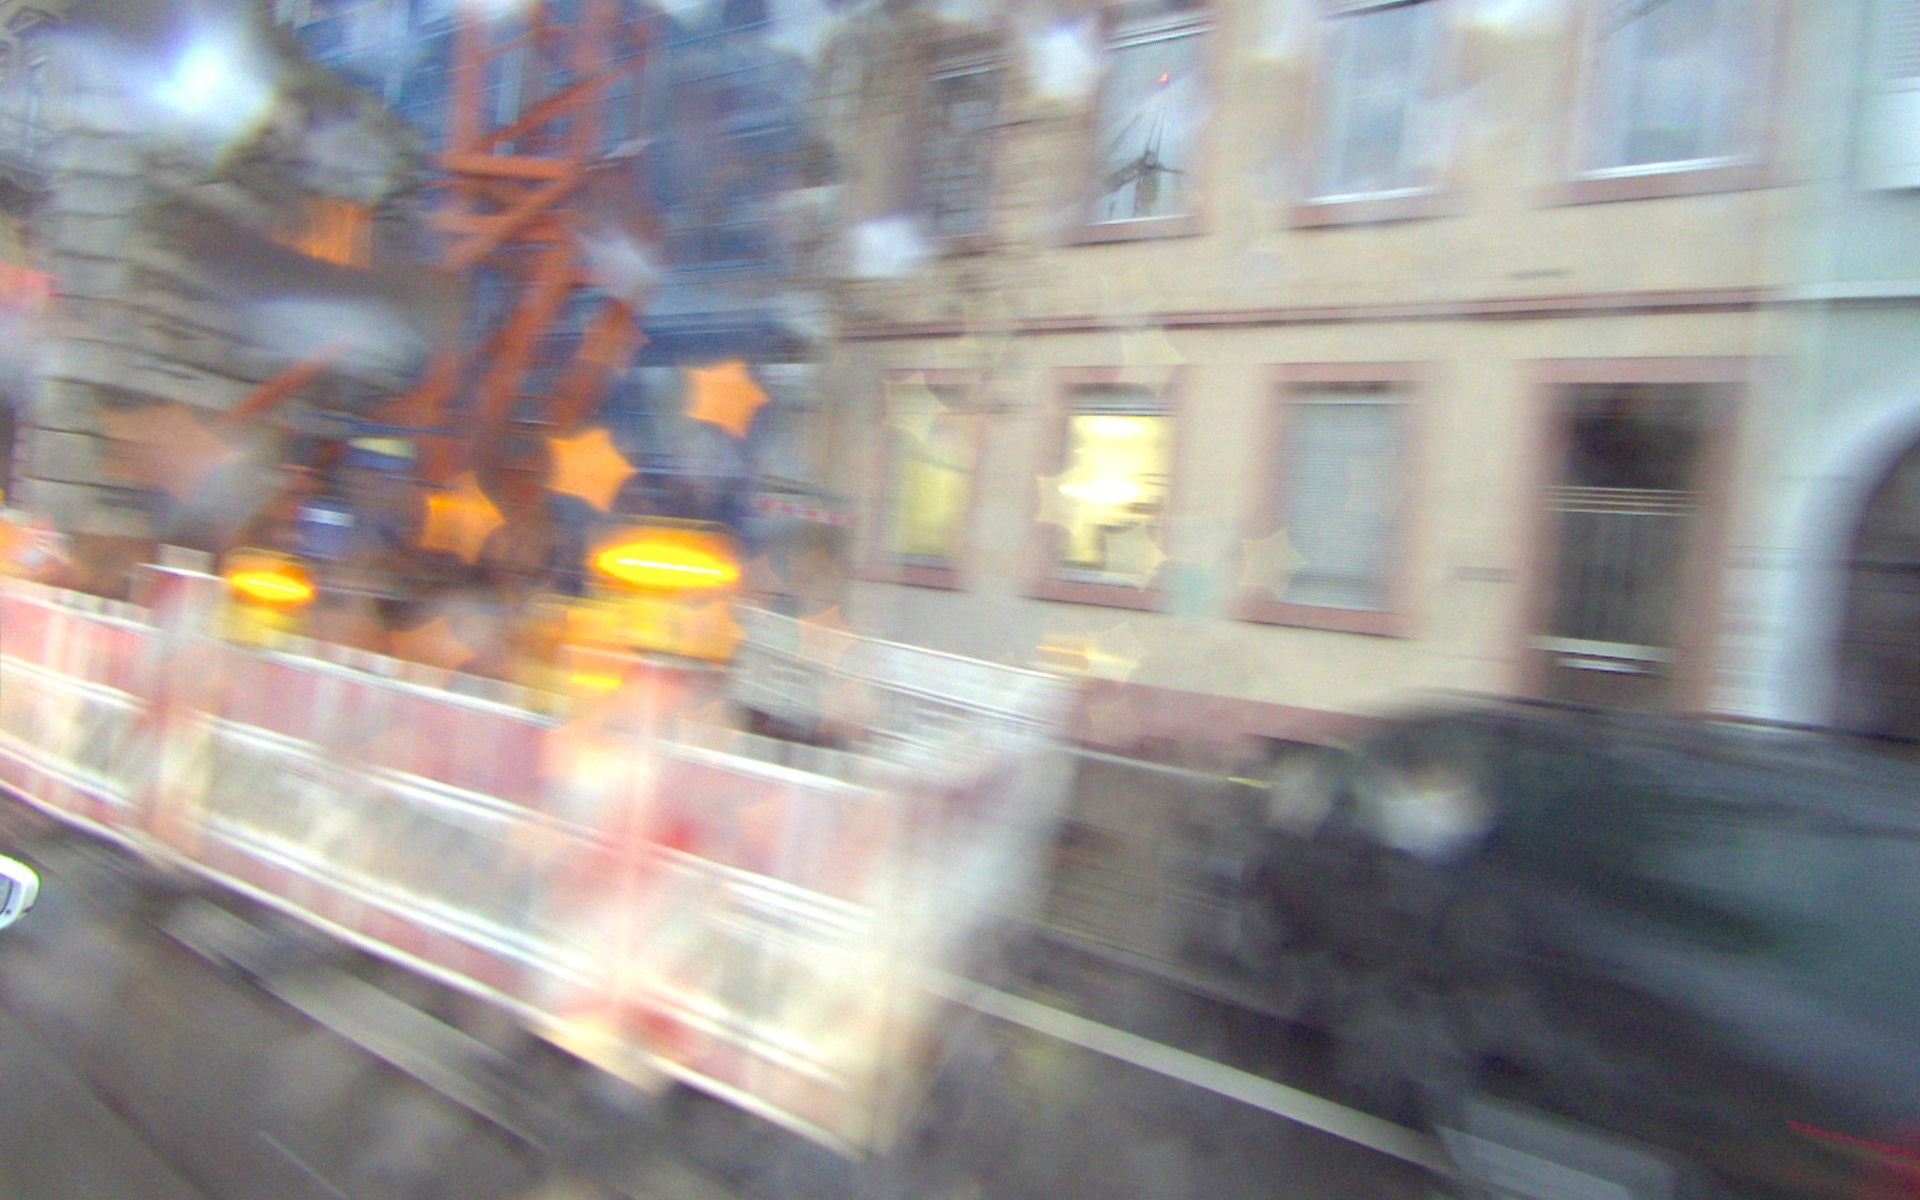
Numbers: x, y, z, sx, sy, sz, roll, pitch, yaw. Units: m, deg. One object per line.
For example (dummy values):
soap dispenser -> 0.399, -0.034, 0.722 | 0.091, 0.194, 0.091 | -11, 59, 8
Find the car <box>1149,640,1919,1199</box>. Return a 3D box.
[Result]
car -> 2.231, 1.080, 3.366 | 1.874, 1.536, 4.092 | 7, -1, -6

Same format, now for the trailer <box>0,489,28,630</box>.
trailer -> -12.742, -0.732, 11.366 | 4.765, 1.508, 1.838 | 7, 0, 30
